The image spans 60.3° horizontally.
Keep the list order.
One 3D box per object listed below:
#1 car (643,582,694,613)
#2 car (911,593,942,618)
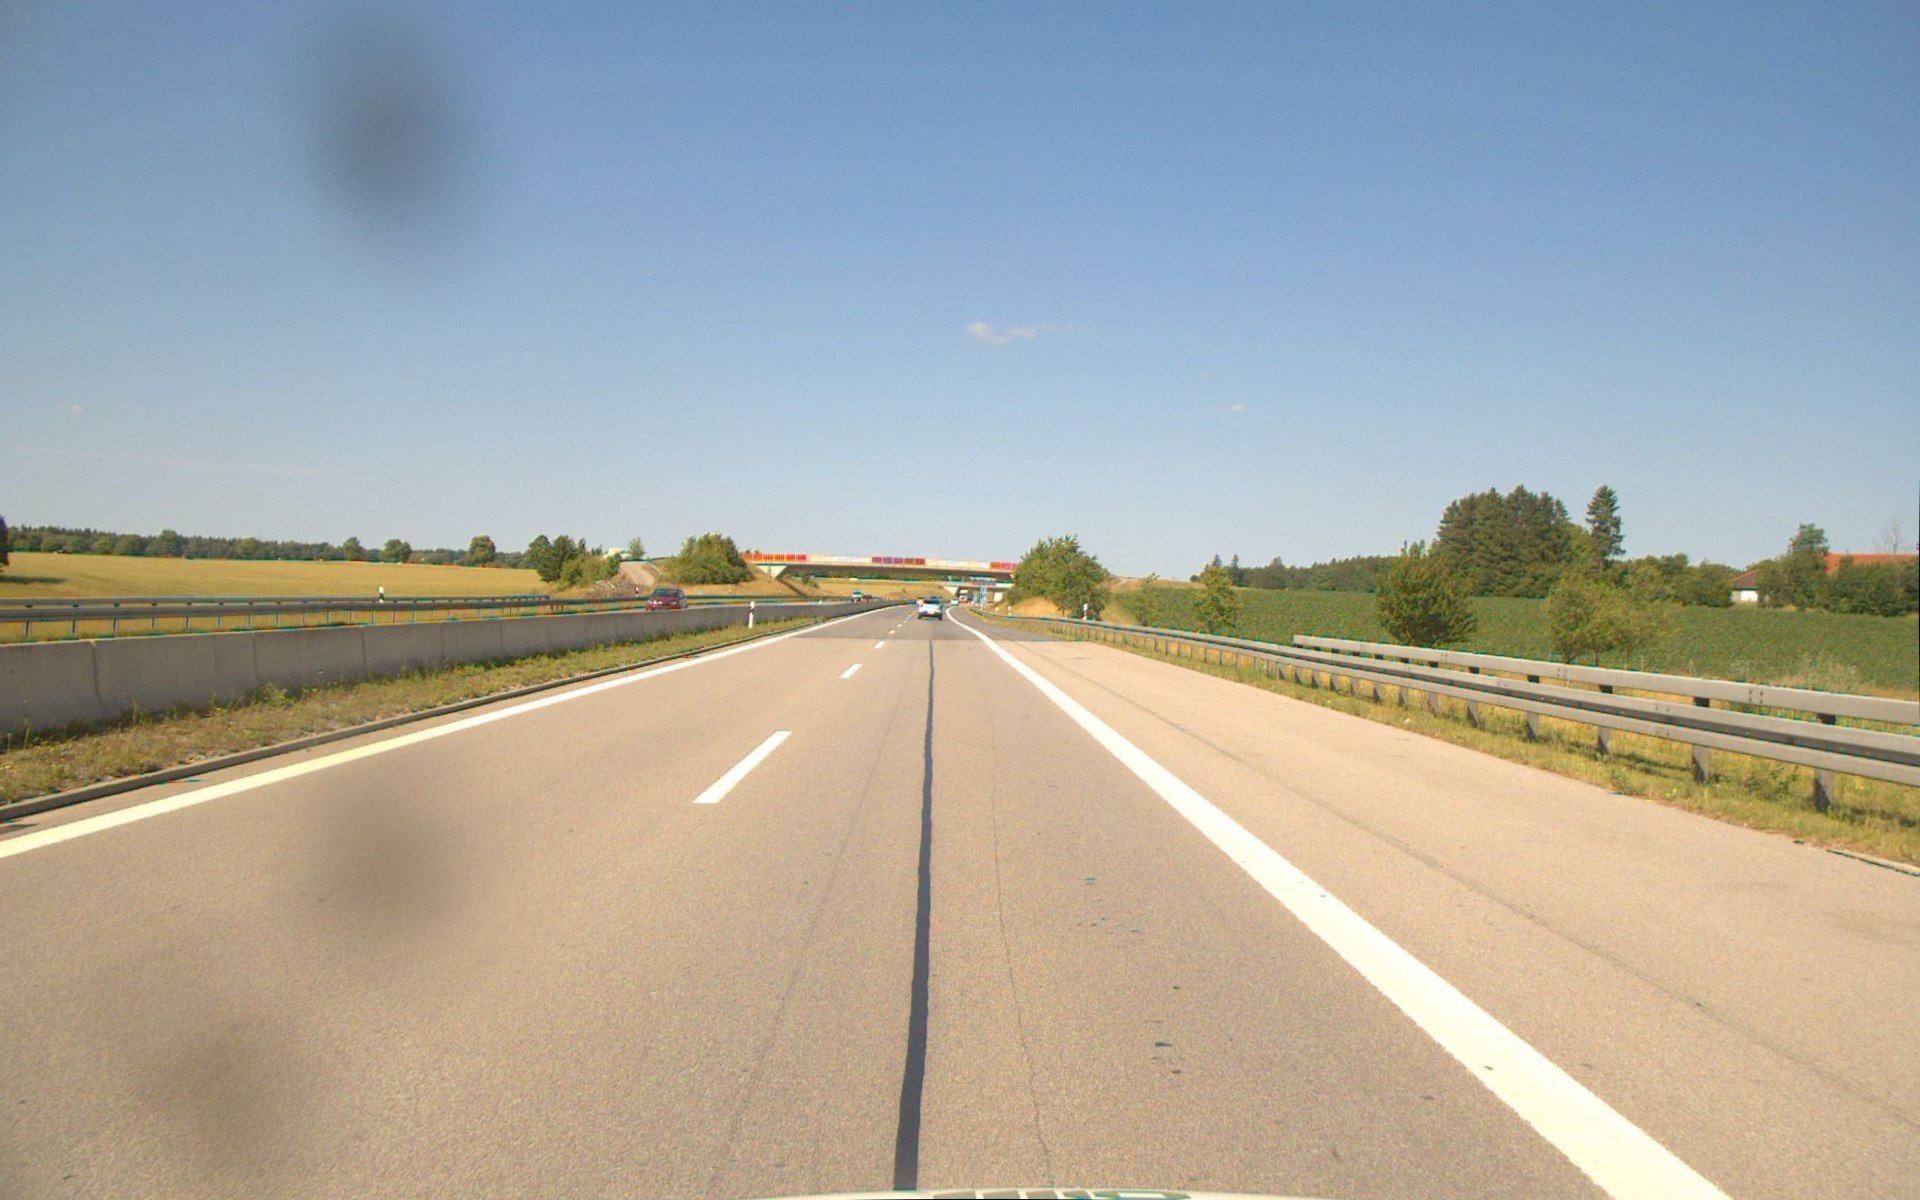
[{"bbox_3d":[-15.262,-0.115,86.728,1.859,1.550,4.805,-1,0,-1],"label":"car"},{"bbox_3d":[-2.574,0.414,125.773,1.954,1.761,4.864,2,0,-5],"label":"car"}]
